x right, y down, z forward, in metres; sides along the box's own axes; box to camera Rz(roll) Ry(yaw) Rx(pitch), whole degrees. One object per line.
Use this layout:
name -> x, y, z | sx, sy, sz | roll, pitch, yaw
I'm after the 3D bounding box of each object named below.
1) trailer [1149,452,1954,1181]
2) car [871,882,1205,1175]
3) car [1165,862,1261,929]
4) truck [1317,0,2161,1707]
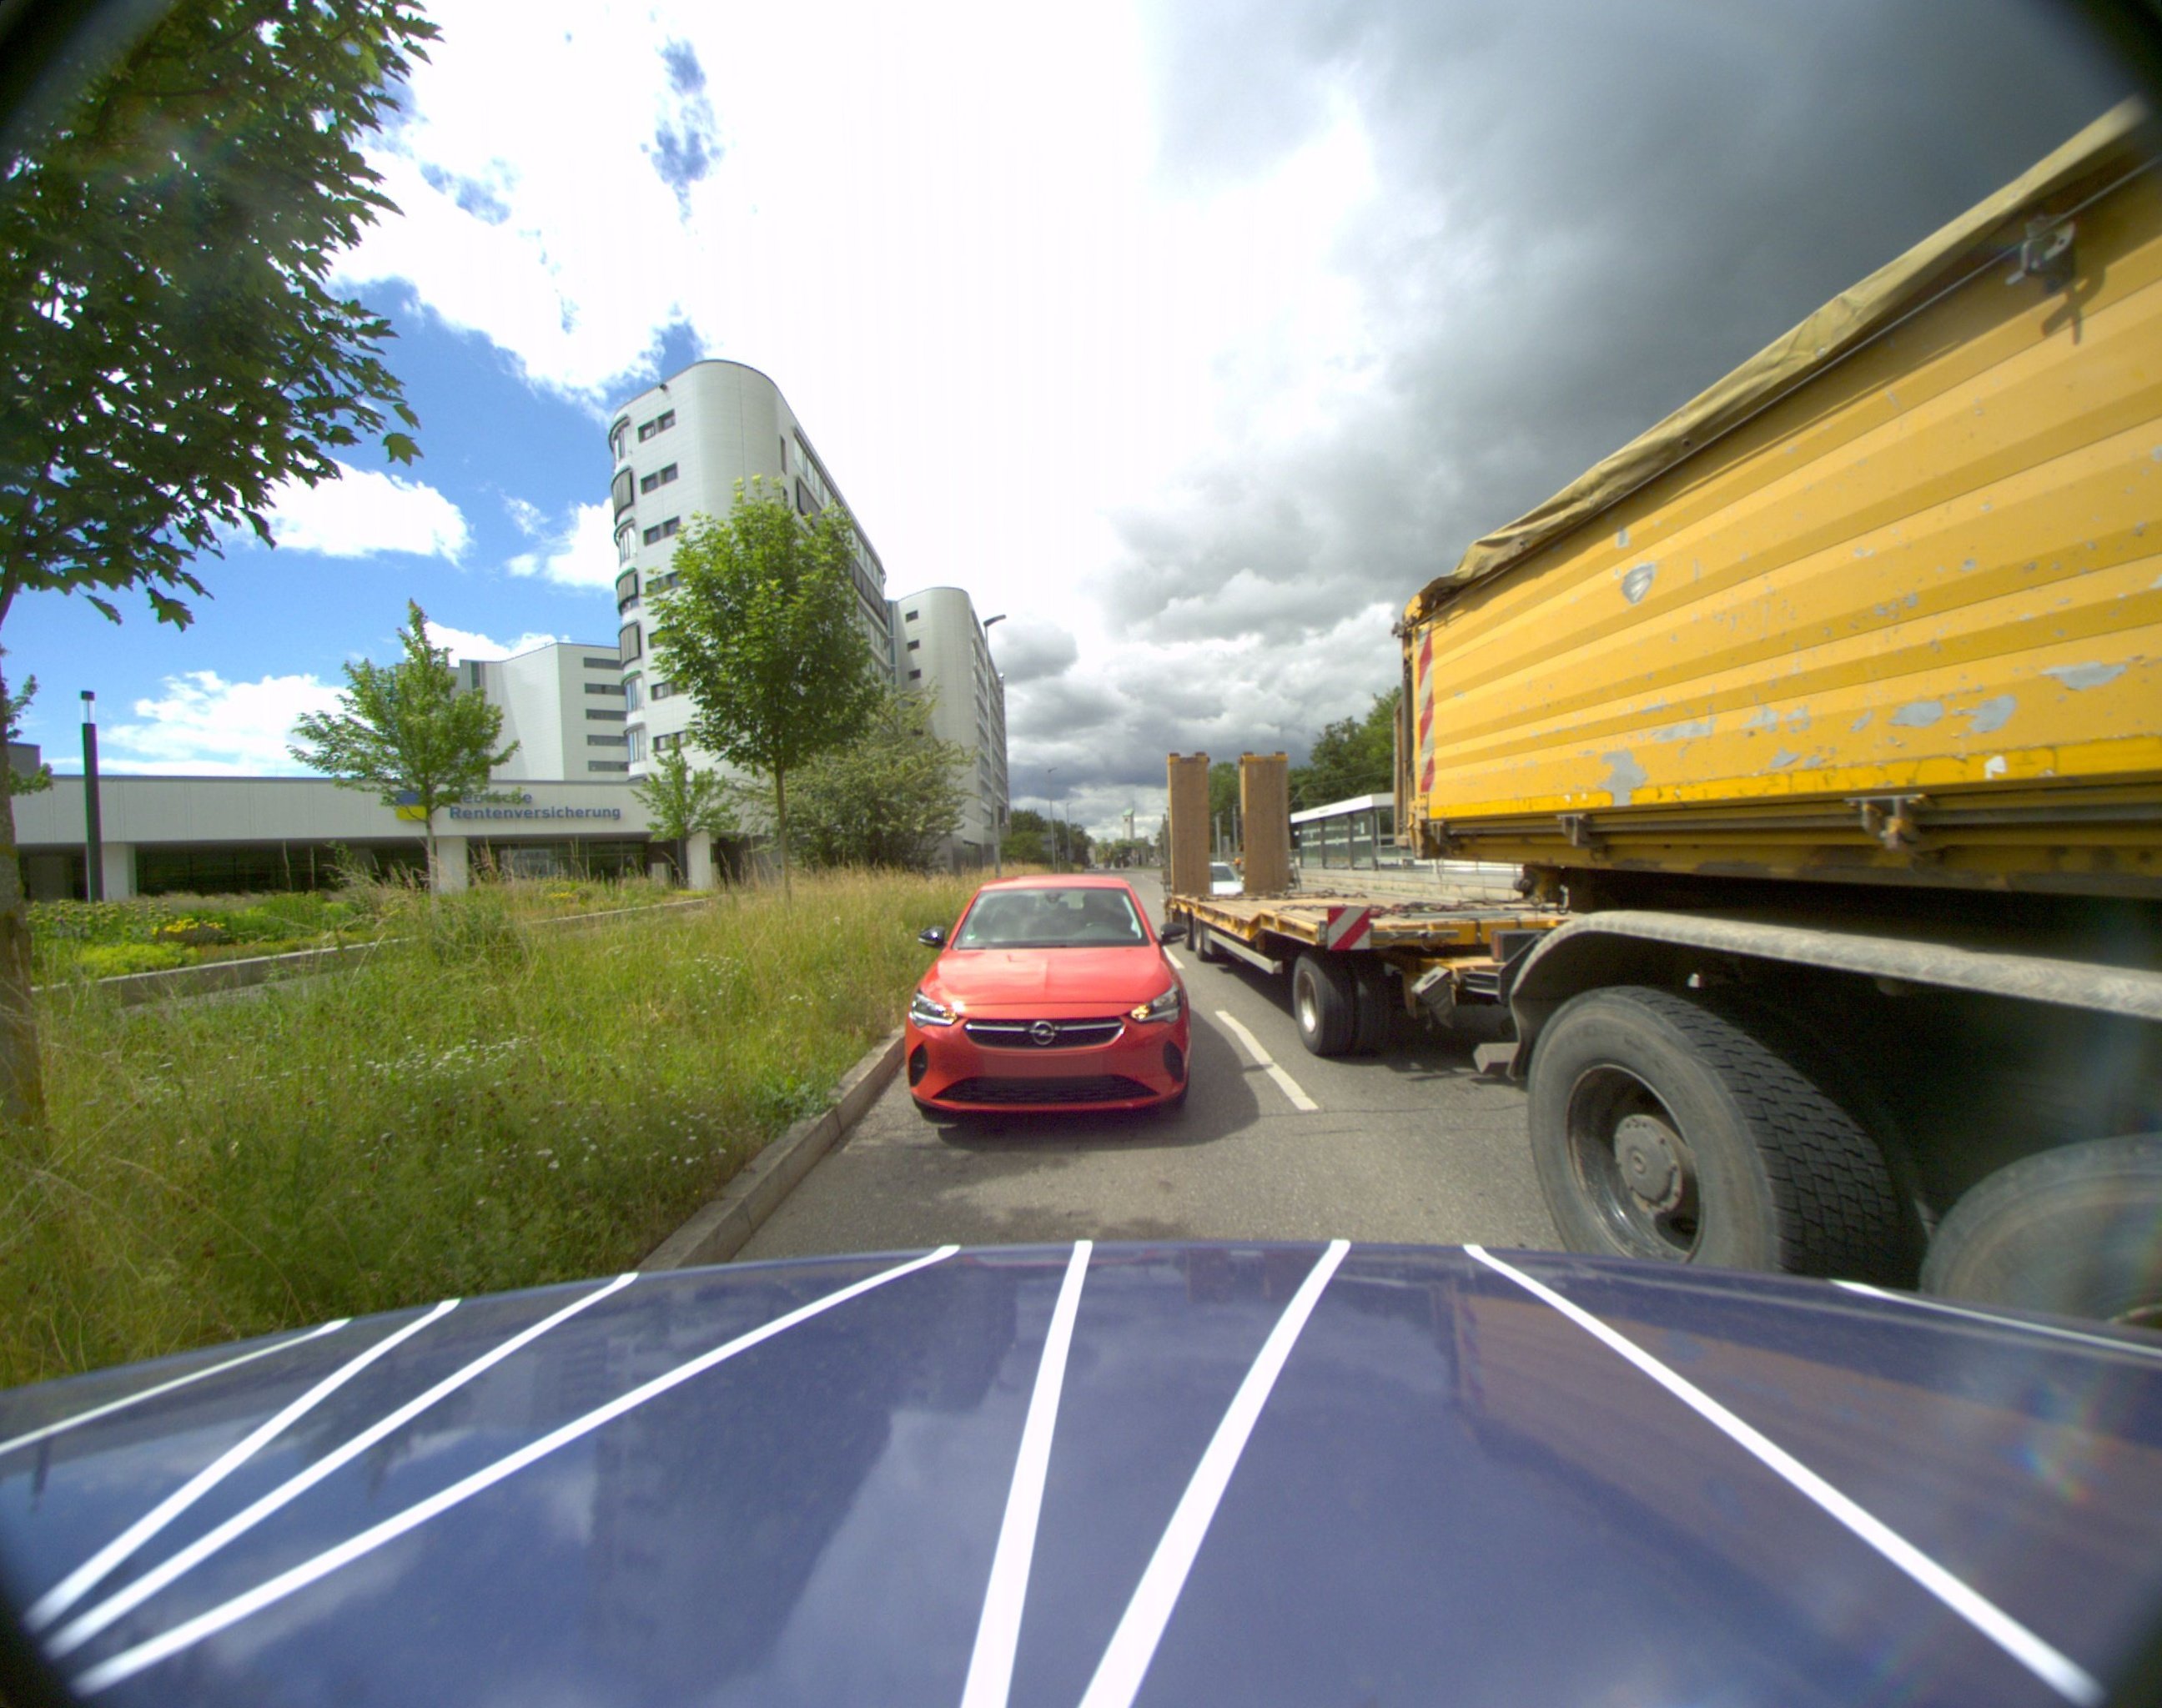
trailer -> 2.944, -0.171, 9.424 | 3.057, 3.676, 10.965 | -2, 0, 0
car -> -0.196, 0.991, 5.854 | 1.749, 1.408, 3.676 | -1, 0, 1
car -> 3.182, 0.956, 19.022 | 1.784, 1.408, 3.785 | -2, 0, 1
truck -> 2.889, -0.058, 0.124 | 3.057, 3.374, 8.006 | -2, 0, 0
